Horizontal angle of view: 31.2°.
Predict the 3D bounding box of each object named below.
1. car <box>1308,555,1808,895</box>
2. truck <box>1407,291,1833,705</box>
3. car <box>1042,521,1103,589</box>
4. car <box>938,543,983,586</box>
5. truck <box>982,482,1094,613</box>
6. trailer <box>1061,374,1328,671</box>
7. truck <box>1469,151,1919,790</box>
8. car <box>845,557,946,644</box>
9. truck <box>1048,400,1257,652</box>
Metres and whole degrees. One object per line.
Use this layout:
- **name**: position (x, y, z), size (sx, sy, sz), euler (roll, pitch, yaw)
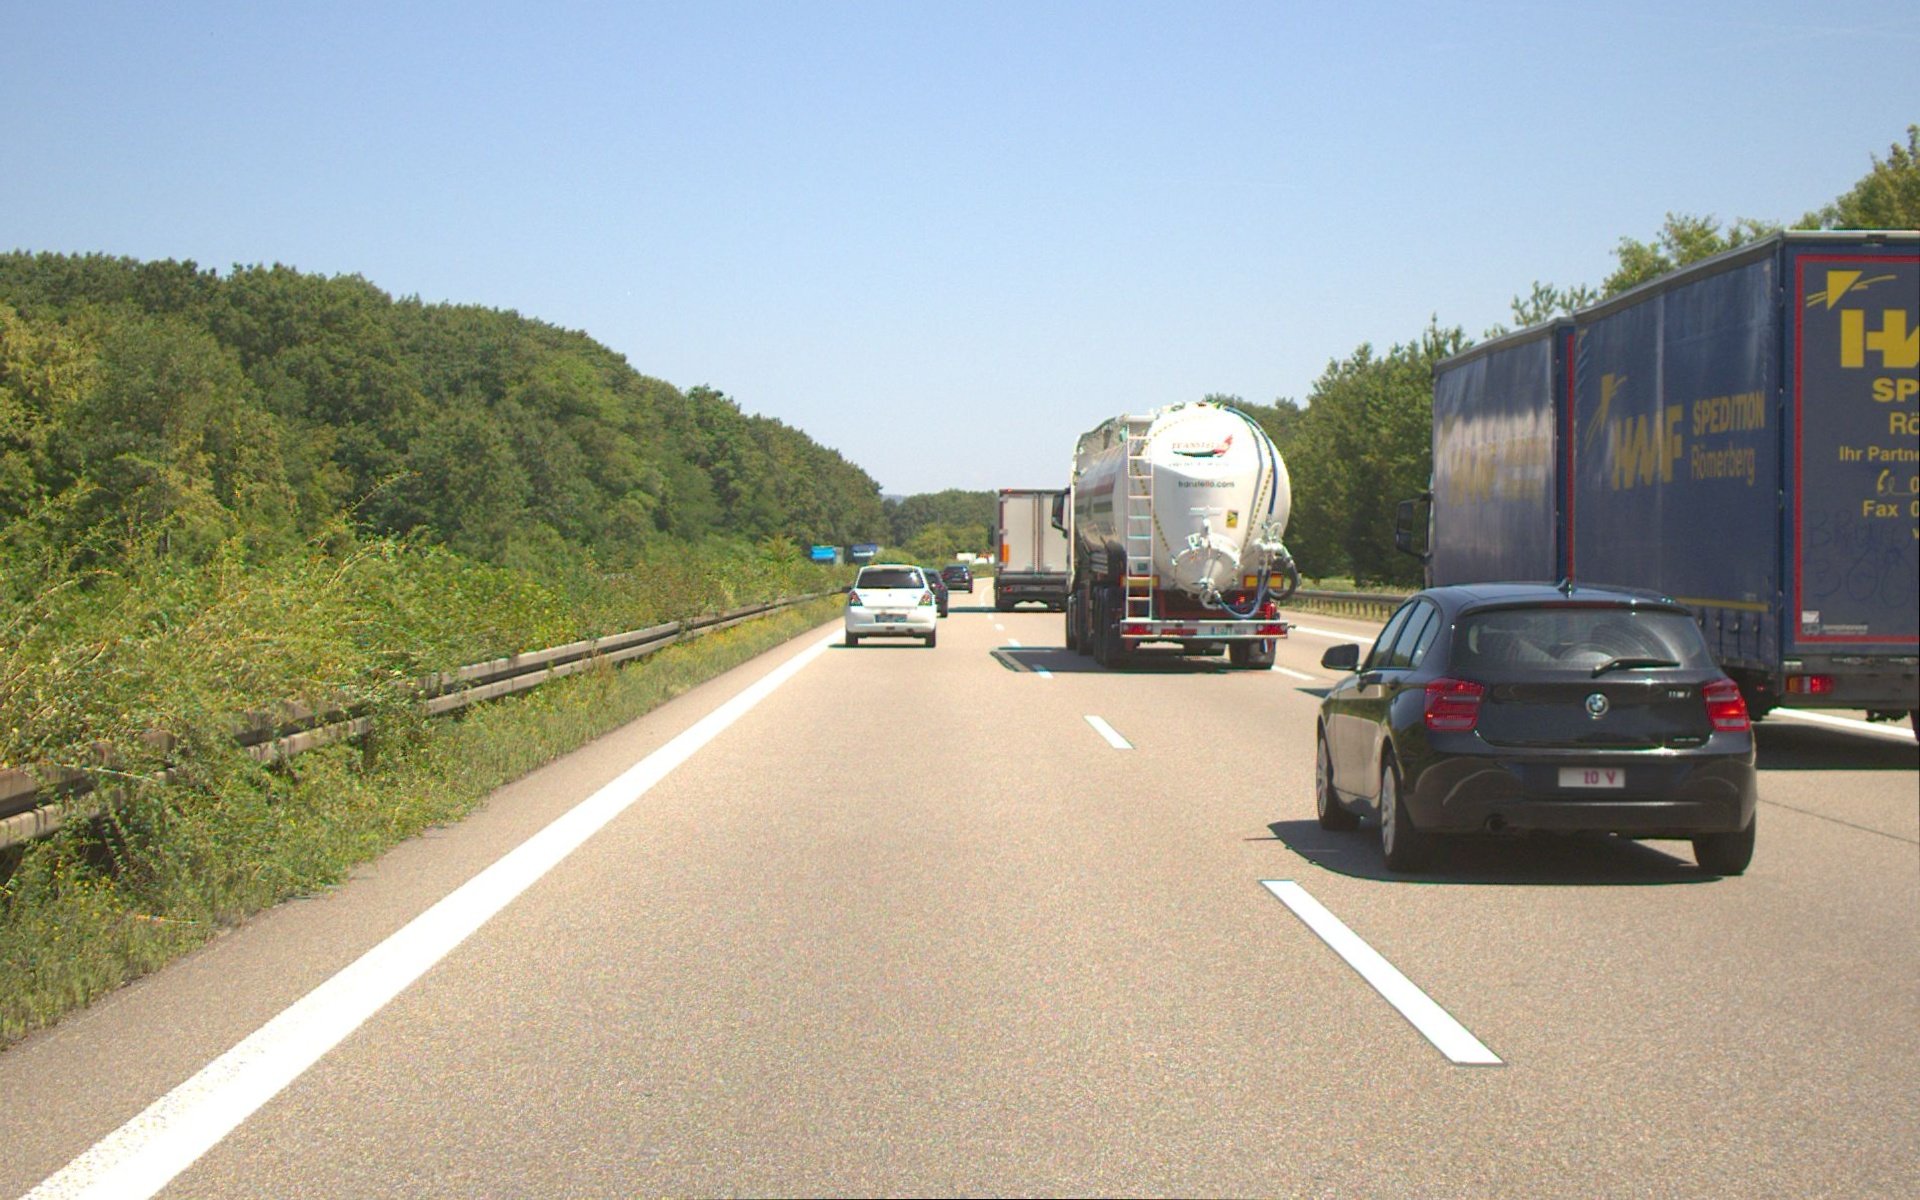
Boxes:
- **car**: position (2.939, 0.549, 17.724), size (1.850, 1.518, 3.957), euler (1, 1, 0)
- **truck**: position (7.166, -1.090, 38.638), size (3.109, 4.124, 8.057), euler (1, 1, 0)
- **car**: position (5.397, -2.166, 165.934), size (2.669, 3.179, 5.567), euler (1, 1, 0)
- **car**: position (-0.007, -2.030, 193.737), size (2.475, 2.346, 5.182), euler (1, 1, 0)
- **truck**: position (2.563, -1.791, 117.422), size (3.394, 4.199, 12.084), euler (1, 1, 0)
- **trailer**: position (3.426, -1.173, 53.722), size (2.911, 4.055, 12.419), euler (1, 1, -2)
- **truck**: position (7.239, -0.946, 30.002), size (3.109, 4.124, 15.512), euler (1, 1, -1)
- **car**: position (-1.235, -0.016, 64.185), size (1.799, 1.546, 3.610), euler (1, 1, -2)
- **truck**: position (3.240, -1.265, 59.782), size (2.911, 4.065, 7.196), euler (1, 1, -2)
